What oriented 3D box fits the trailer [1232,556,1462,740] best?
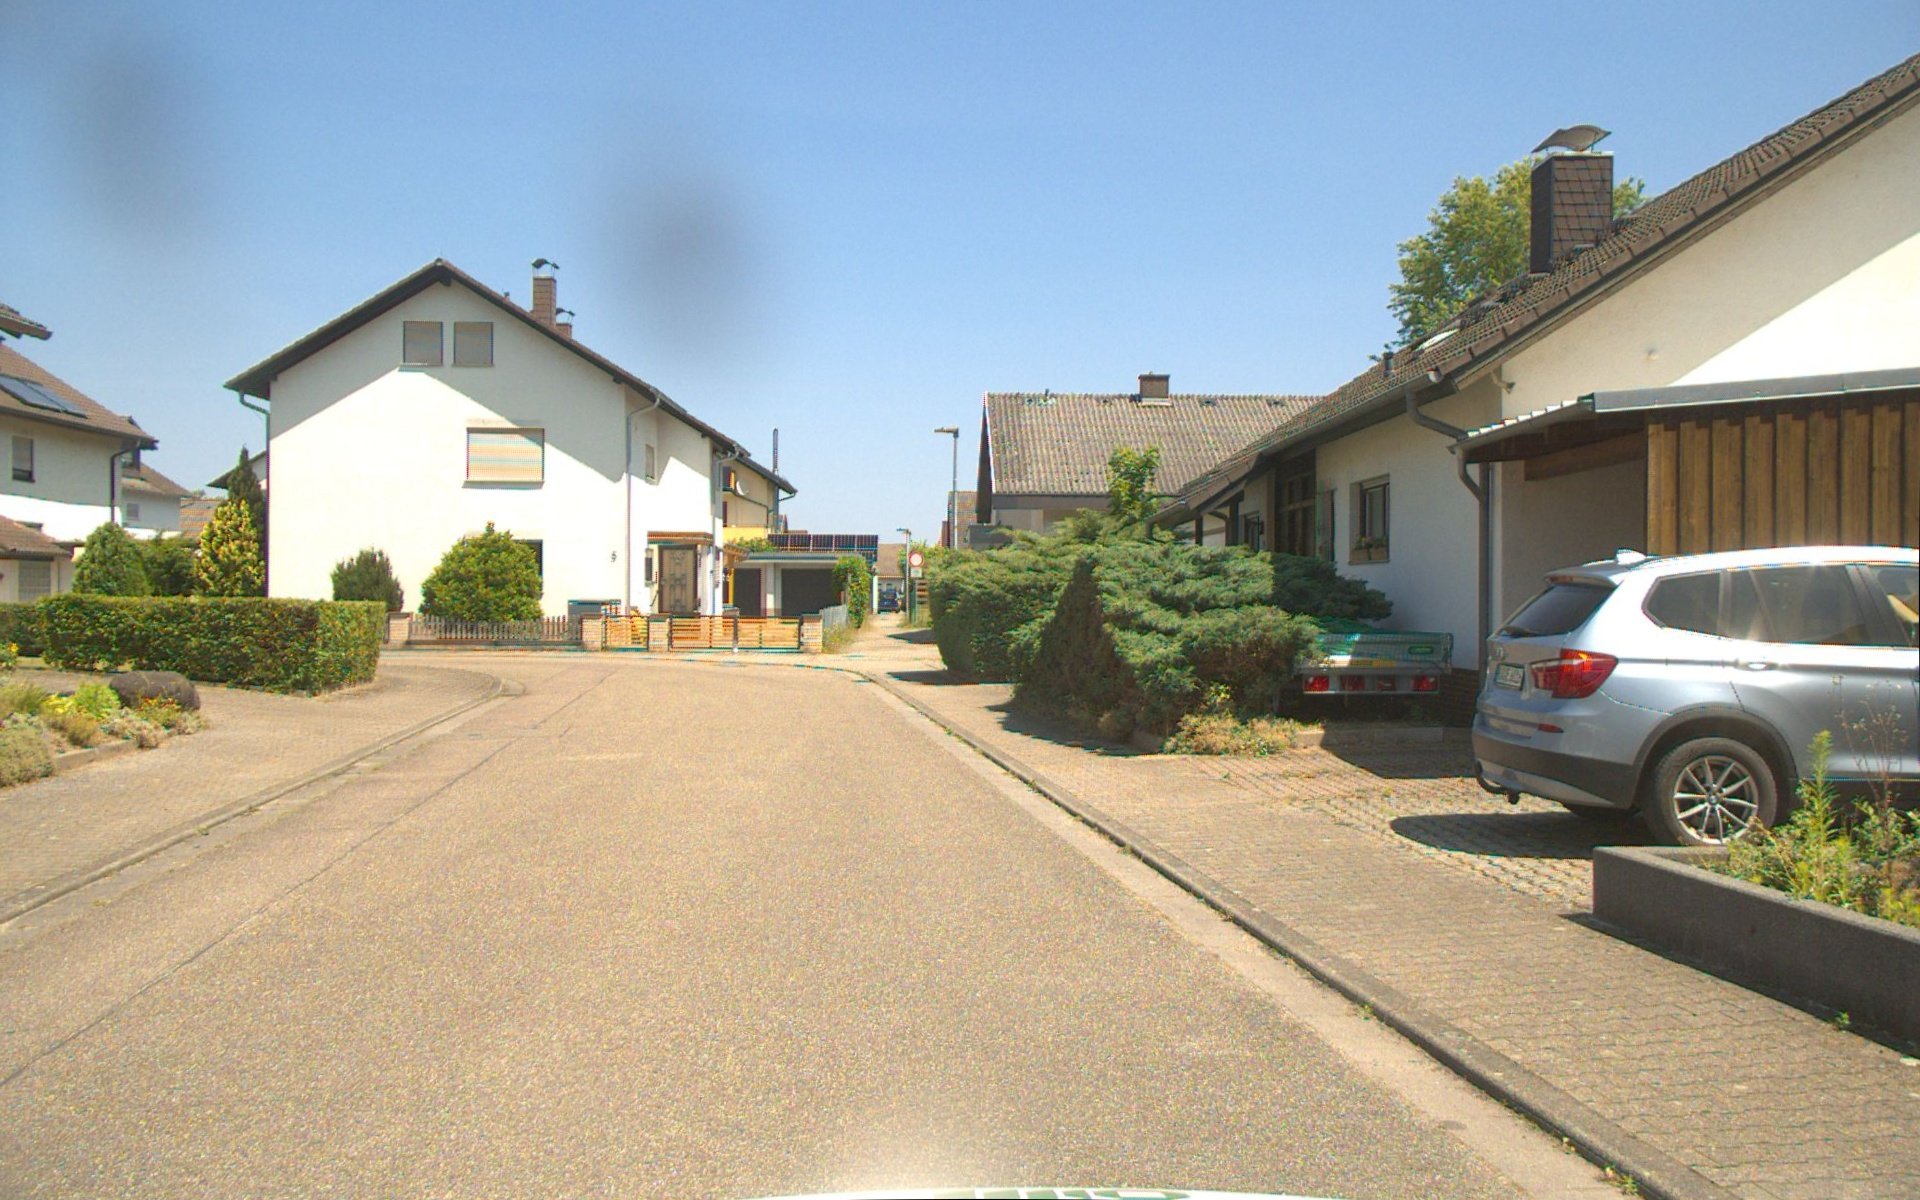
[{"bbox_3d":[3.941,0.427,17.320,1.555,1.701,3.296,-2,1,-1],"label":"trailer"}]

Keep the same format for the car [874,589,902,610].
[{"bbox_3d":[-5.875,-0.058,135.121,2.149,1.731,3.806,0,0,-1],"label":"car"}]

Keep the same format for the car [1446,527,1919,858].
[{"bbox_3d":[5.399,0.465,9.768,4.531,1.732,1.710,-2,0,1],"label":"car"}]
